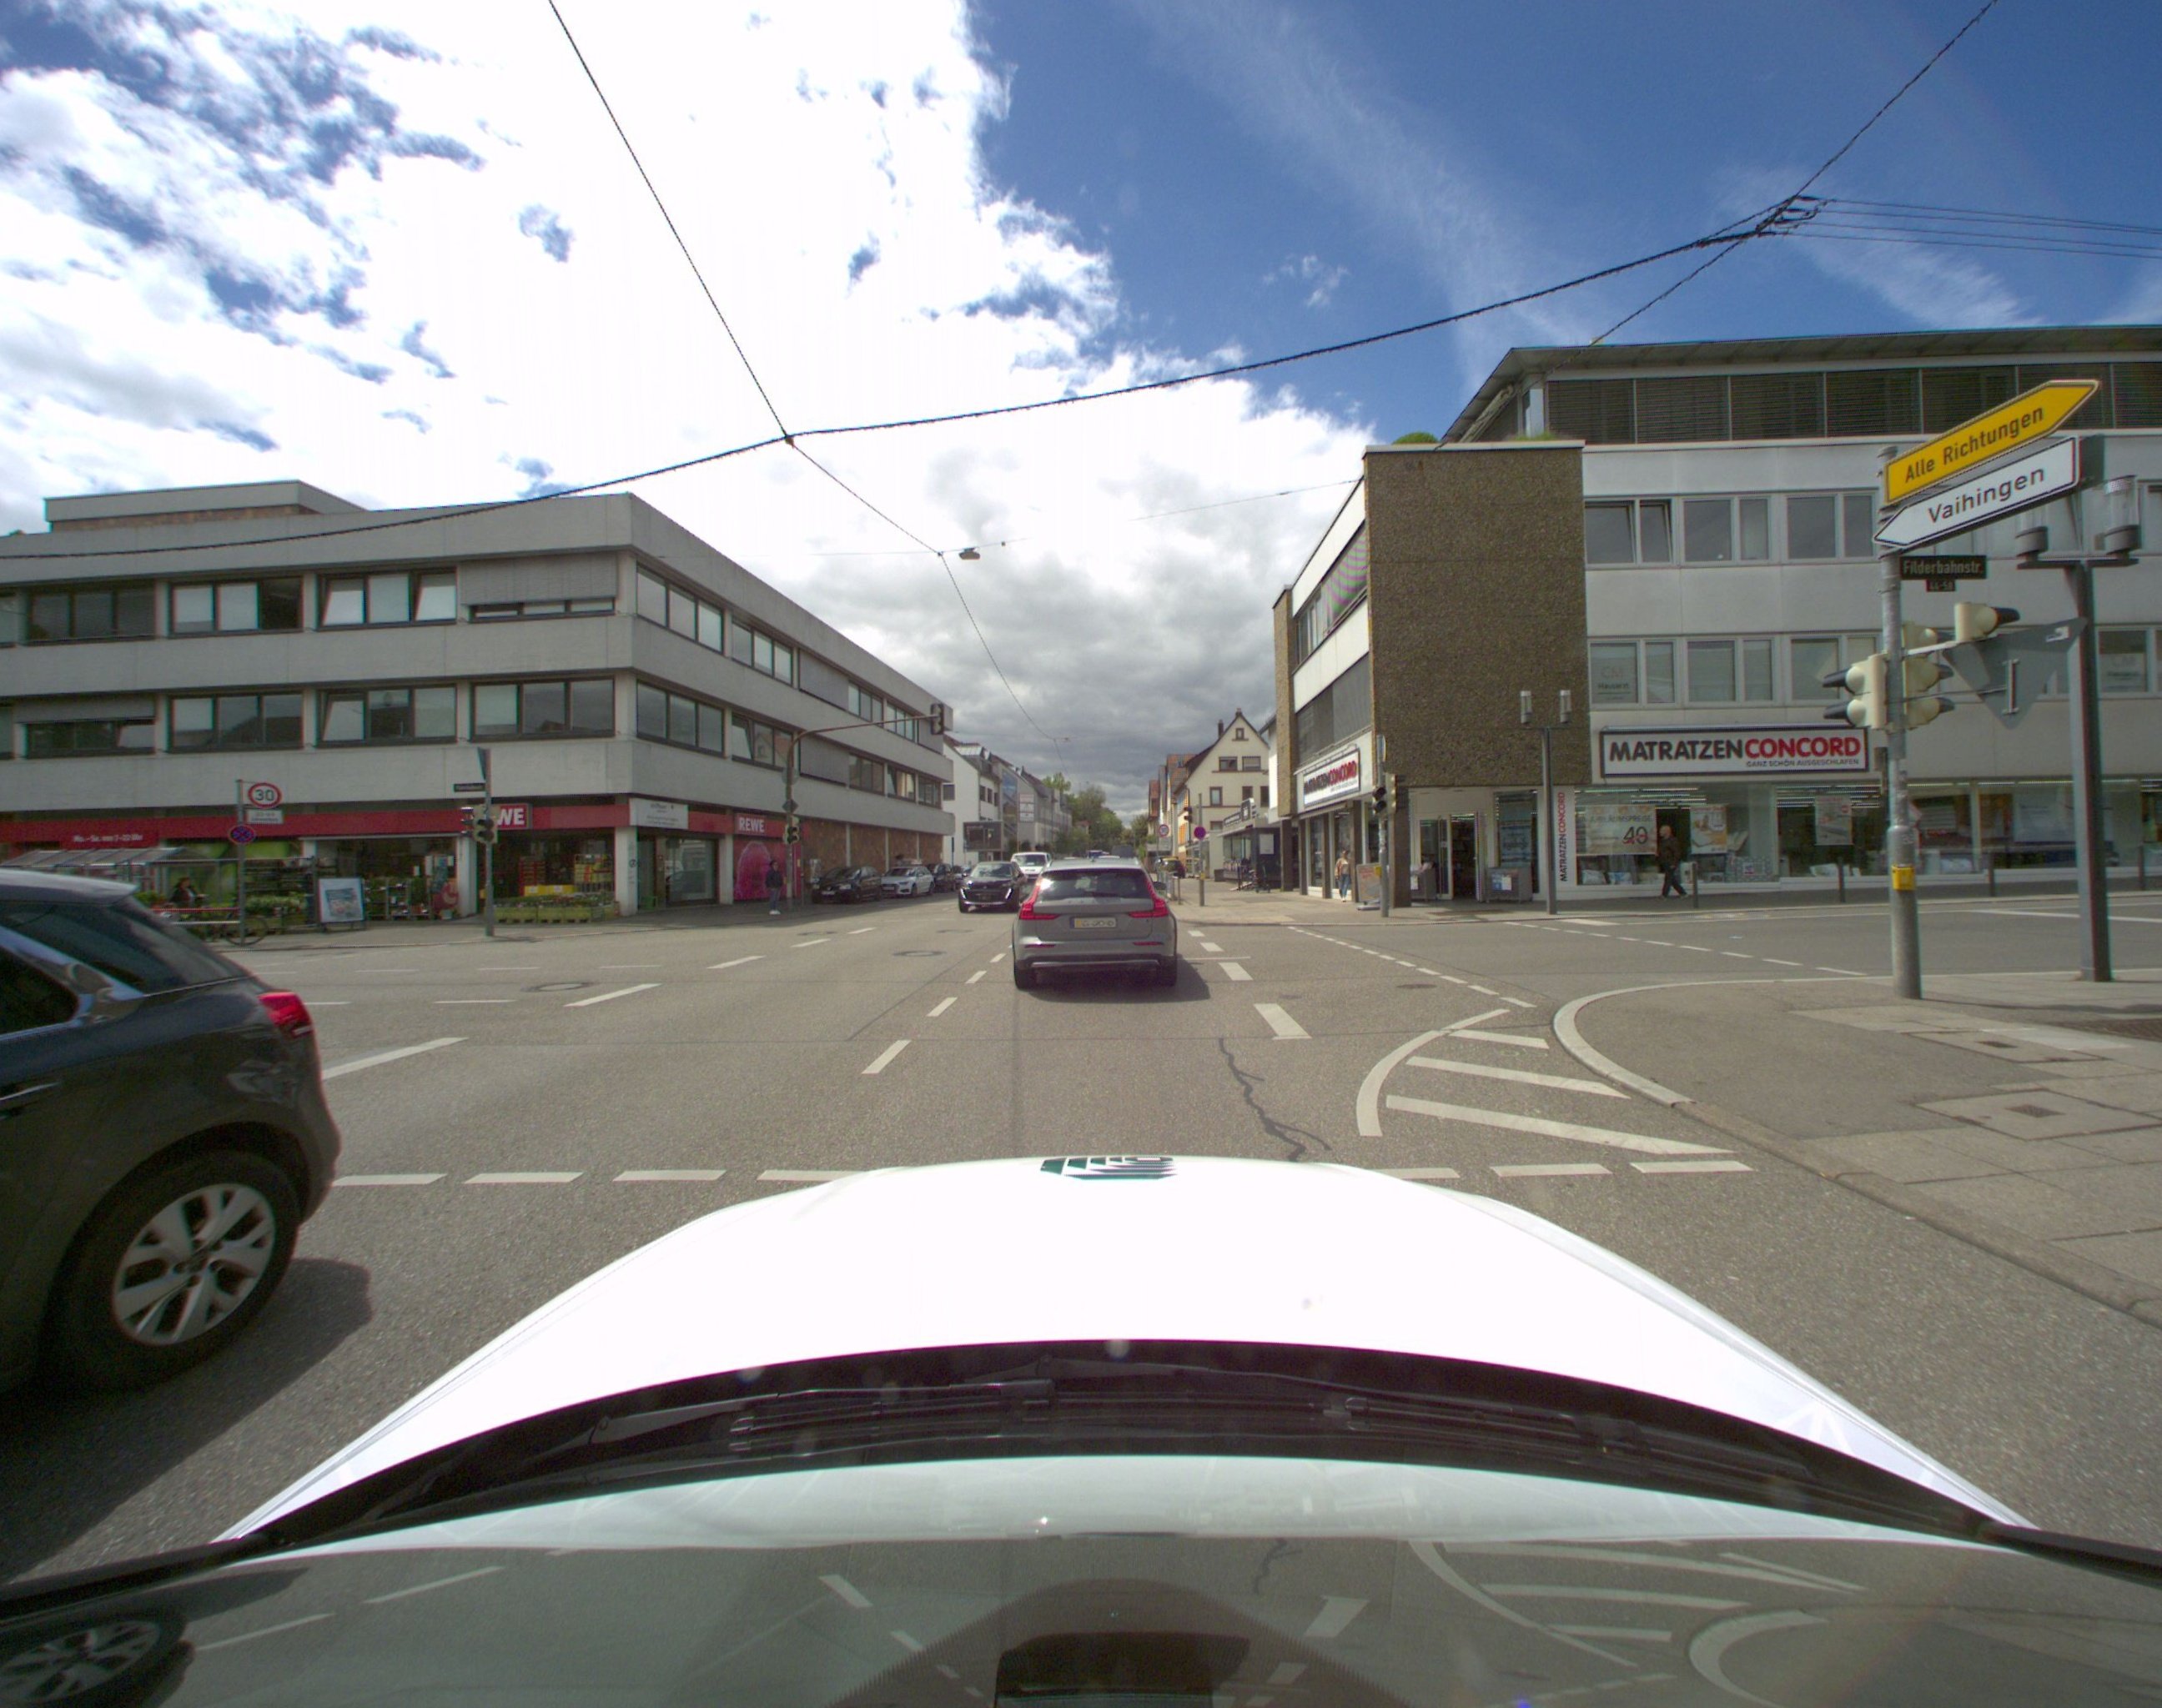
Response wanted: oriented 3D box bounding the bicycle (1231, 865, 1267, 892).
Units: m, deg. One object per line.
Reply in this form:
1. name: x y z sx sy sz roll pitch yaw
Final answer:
1. bicycle: 7.389 1.073 36.000 0.555 1.144 2.287 -2 -1 -16

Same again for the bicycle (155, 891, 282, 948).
1. bicycle: -19.558 1.467 18.505 1.881 1.142 0.774 -3 -1 -9

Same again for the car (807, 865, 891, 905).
1. car: -9.157 1.187 32.491 1.776 1.464 4.093 0 -1 6

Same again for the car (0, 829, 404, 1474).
1. car: -3.582 0.766 1.135 1.783 1.589 4.100 -2 0 0

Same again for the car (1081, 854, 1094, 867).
1. car: 0.992 1.040 121.966 1.790 1.816 4.002 0 -2 3

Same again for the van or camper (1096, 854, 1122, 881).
1. van or camper: 2.003 1.033 58.773 1.812 1.835 4.000 -1 -3 1

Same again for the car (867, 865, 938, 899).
1. car: -8.204 1.258 37.859 1.894 1.443 4.450 0 0 6

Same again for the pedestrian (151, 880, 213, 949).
1. pedestrian: -21.508 1.428 19.502 0.726 1.597 0.691 1 -2 -25

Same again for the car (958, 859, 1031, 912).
1. car: -2.648 0.942 25.773 1.676 1.497 3.969 -2 0 2

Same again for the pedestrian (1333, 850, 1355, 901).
1. pedestrian: 7.722 0.625 23.916 0.500 1.459 0.502 -4 -2 15

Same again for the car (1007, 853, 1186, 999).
1. car: 0.211 0.742 10.445 1.829 1.486 4.001 -1 0 1

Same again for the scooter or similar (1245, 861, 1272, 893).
1. scooter or similar: 7.200 0.944 33.102 0.342 1.253 1.236 -3 -1 -24

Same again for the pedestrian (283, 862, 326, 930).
1. pedestrian: -20.694 1.108 21.722 0.623 1.776 0.551 1 -2 -23

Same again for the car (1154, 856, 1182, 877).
1. car: 6.506 0.977 61.136 1.705 1.464 3.999 0 -2 0

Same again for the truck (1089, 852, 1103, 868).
1. truck: 2.822 1.108 150.436 2.267 2.886 7.084 -2 0 3

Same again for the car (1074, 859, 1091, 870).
1. car: 0.245 1.387 108.315 1.753 1.426 4.007 -2 0 7

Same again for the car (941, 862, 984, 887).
1. car: -7.240 1.251 50.144 1.747 1.426 3.867 -2 0 4

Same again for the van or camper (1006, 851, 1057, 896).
1. van or camper: -2.208 0.843 37.361 1.857 1.898 4.694 -1 0 2

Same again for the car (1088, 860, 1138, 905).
1. car: 1.113 0.961 28.654 1.644 1.482 3.608 0 -1 1

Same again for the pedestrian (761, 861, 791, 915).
1. pedestrian: -9.435 1.045 25.180 0.616 1.641 0.661 -2 -1 3

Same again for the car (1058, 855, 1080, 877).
1. car: -1.047 1.065 73.838 1.831 1.917 4.157 0 -1 1

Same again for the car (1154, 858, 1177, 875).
1. car: 7.722 1.154 74.428 1.875 1.500 3.974 0 -2 3

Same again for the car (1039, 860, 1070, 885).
1. car: -1.722 1.211 54.498 1.662 1.554 4.218 -1 0 3

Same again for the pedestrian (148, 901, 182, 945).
1. pedestrian: -21.293 1.591 18.931 0.364 1.005 0.382 1 -2 -24

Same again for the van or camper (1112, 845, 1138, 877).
1. van or camper: 3.935 0.593 72.978 2.115 2.686 4.784 -2 0 3

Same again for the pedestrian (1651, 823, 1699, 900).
1. pedestrian: 13.531 0.167 18.558 0.582 1.705 0.614 -4 0 -30

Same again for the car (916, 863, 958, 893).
1. car: -7.688 1.262 43.749 1.601 1.543 2.946 1 0 3
